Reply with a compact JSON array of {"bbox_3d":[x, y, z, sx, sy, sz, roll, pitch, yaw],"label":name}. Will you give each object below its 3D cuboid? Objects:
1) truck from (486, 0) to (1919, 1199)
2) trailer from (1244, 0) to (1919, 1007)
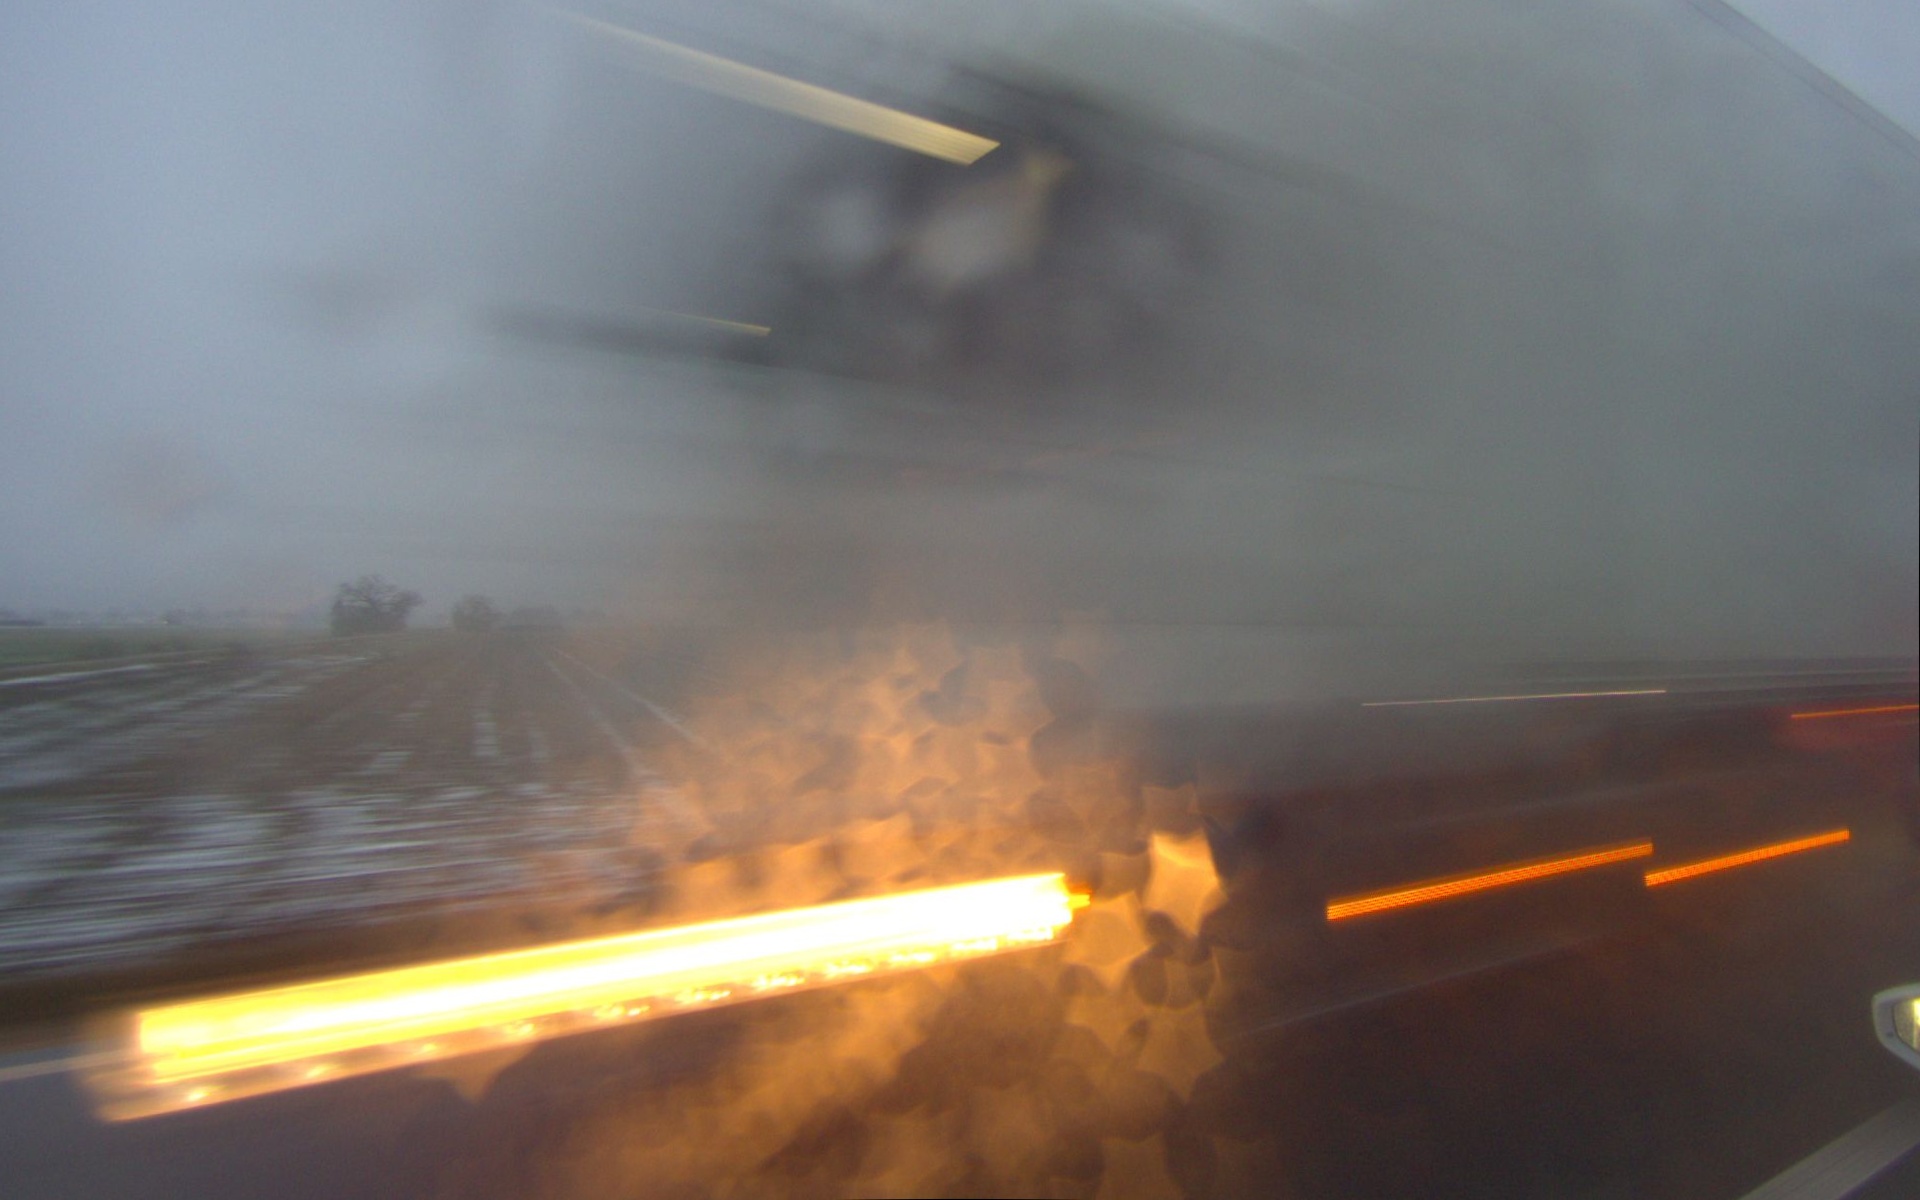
[{"bbox_3d":[1.560,-0.460,4.603,6.512,4.159,2.712,1,-2,-31],"label":"truck"},{"bbox_3d":[7.696,-0.332,8.289,12.238,4.134,2.688,1,-2,-31],"label":"trailer"}]
